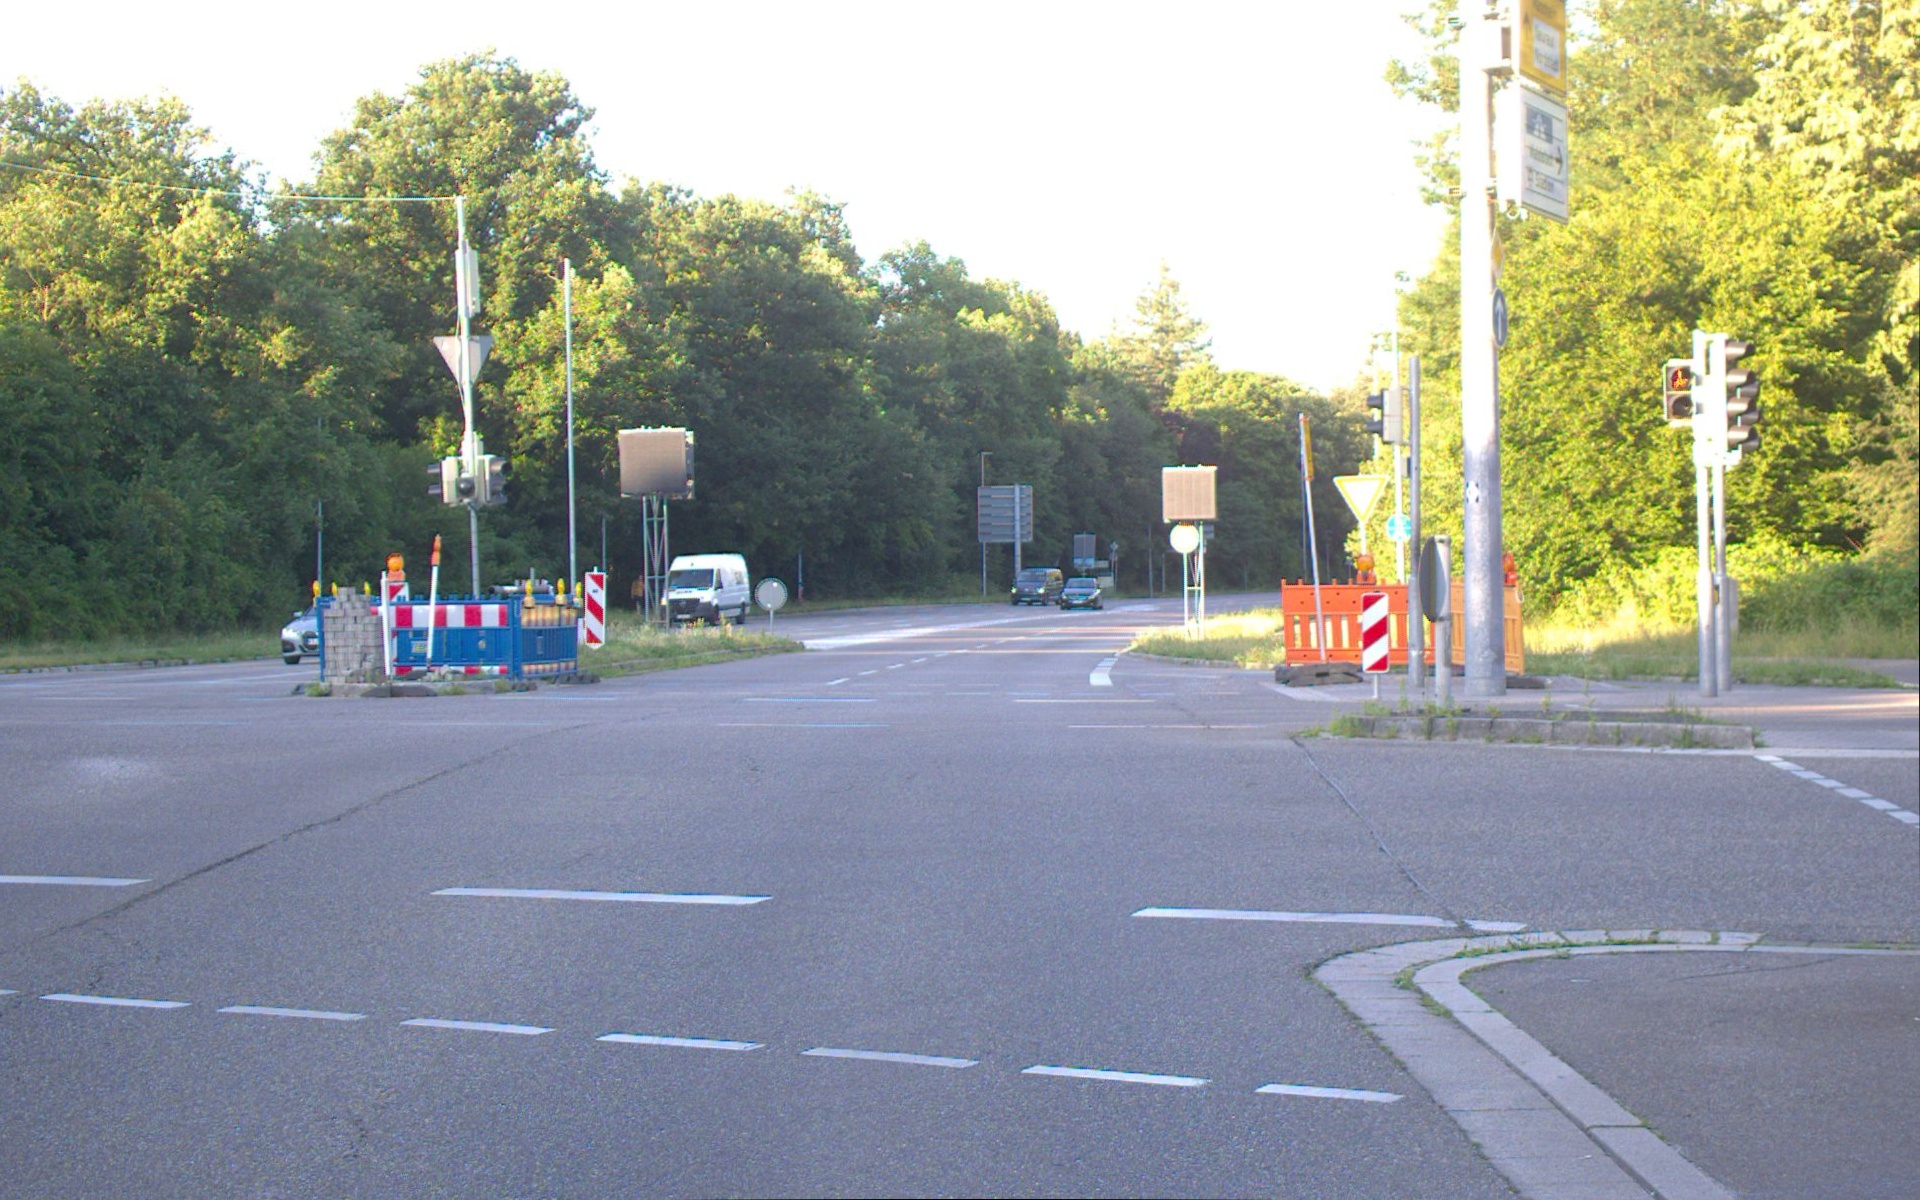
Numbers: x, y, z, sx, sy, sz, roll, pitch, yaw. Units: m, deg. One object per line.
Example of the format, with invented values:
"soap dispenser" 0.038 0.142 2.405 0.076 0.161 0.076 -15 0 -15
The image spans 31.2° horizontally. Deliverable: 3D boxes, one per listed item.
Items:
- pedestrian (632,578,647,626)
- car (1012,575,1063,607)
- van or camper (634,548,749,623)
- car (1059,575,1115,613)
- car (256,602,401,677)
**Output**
"pedestrian" -13.368 0.089 143.454 0.521 2.007 0.600 1 0 -1
"car" 4.161 -0.488 183.720 1.994 1.634 3.998 0 1 12
"van or camper" -9.833 -0.578 126.584 2.886 2.643 7.120 0 1 7
"car" 6.127 -0.302 165.032 1.994 1.634 3.998 -2 2 12
"car" -13.144 0.791 71.774 1.891 1.436 4.500 -1 1 4
